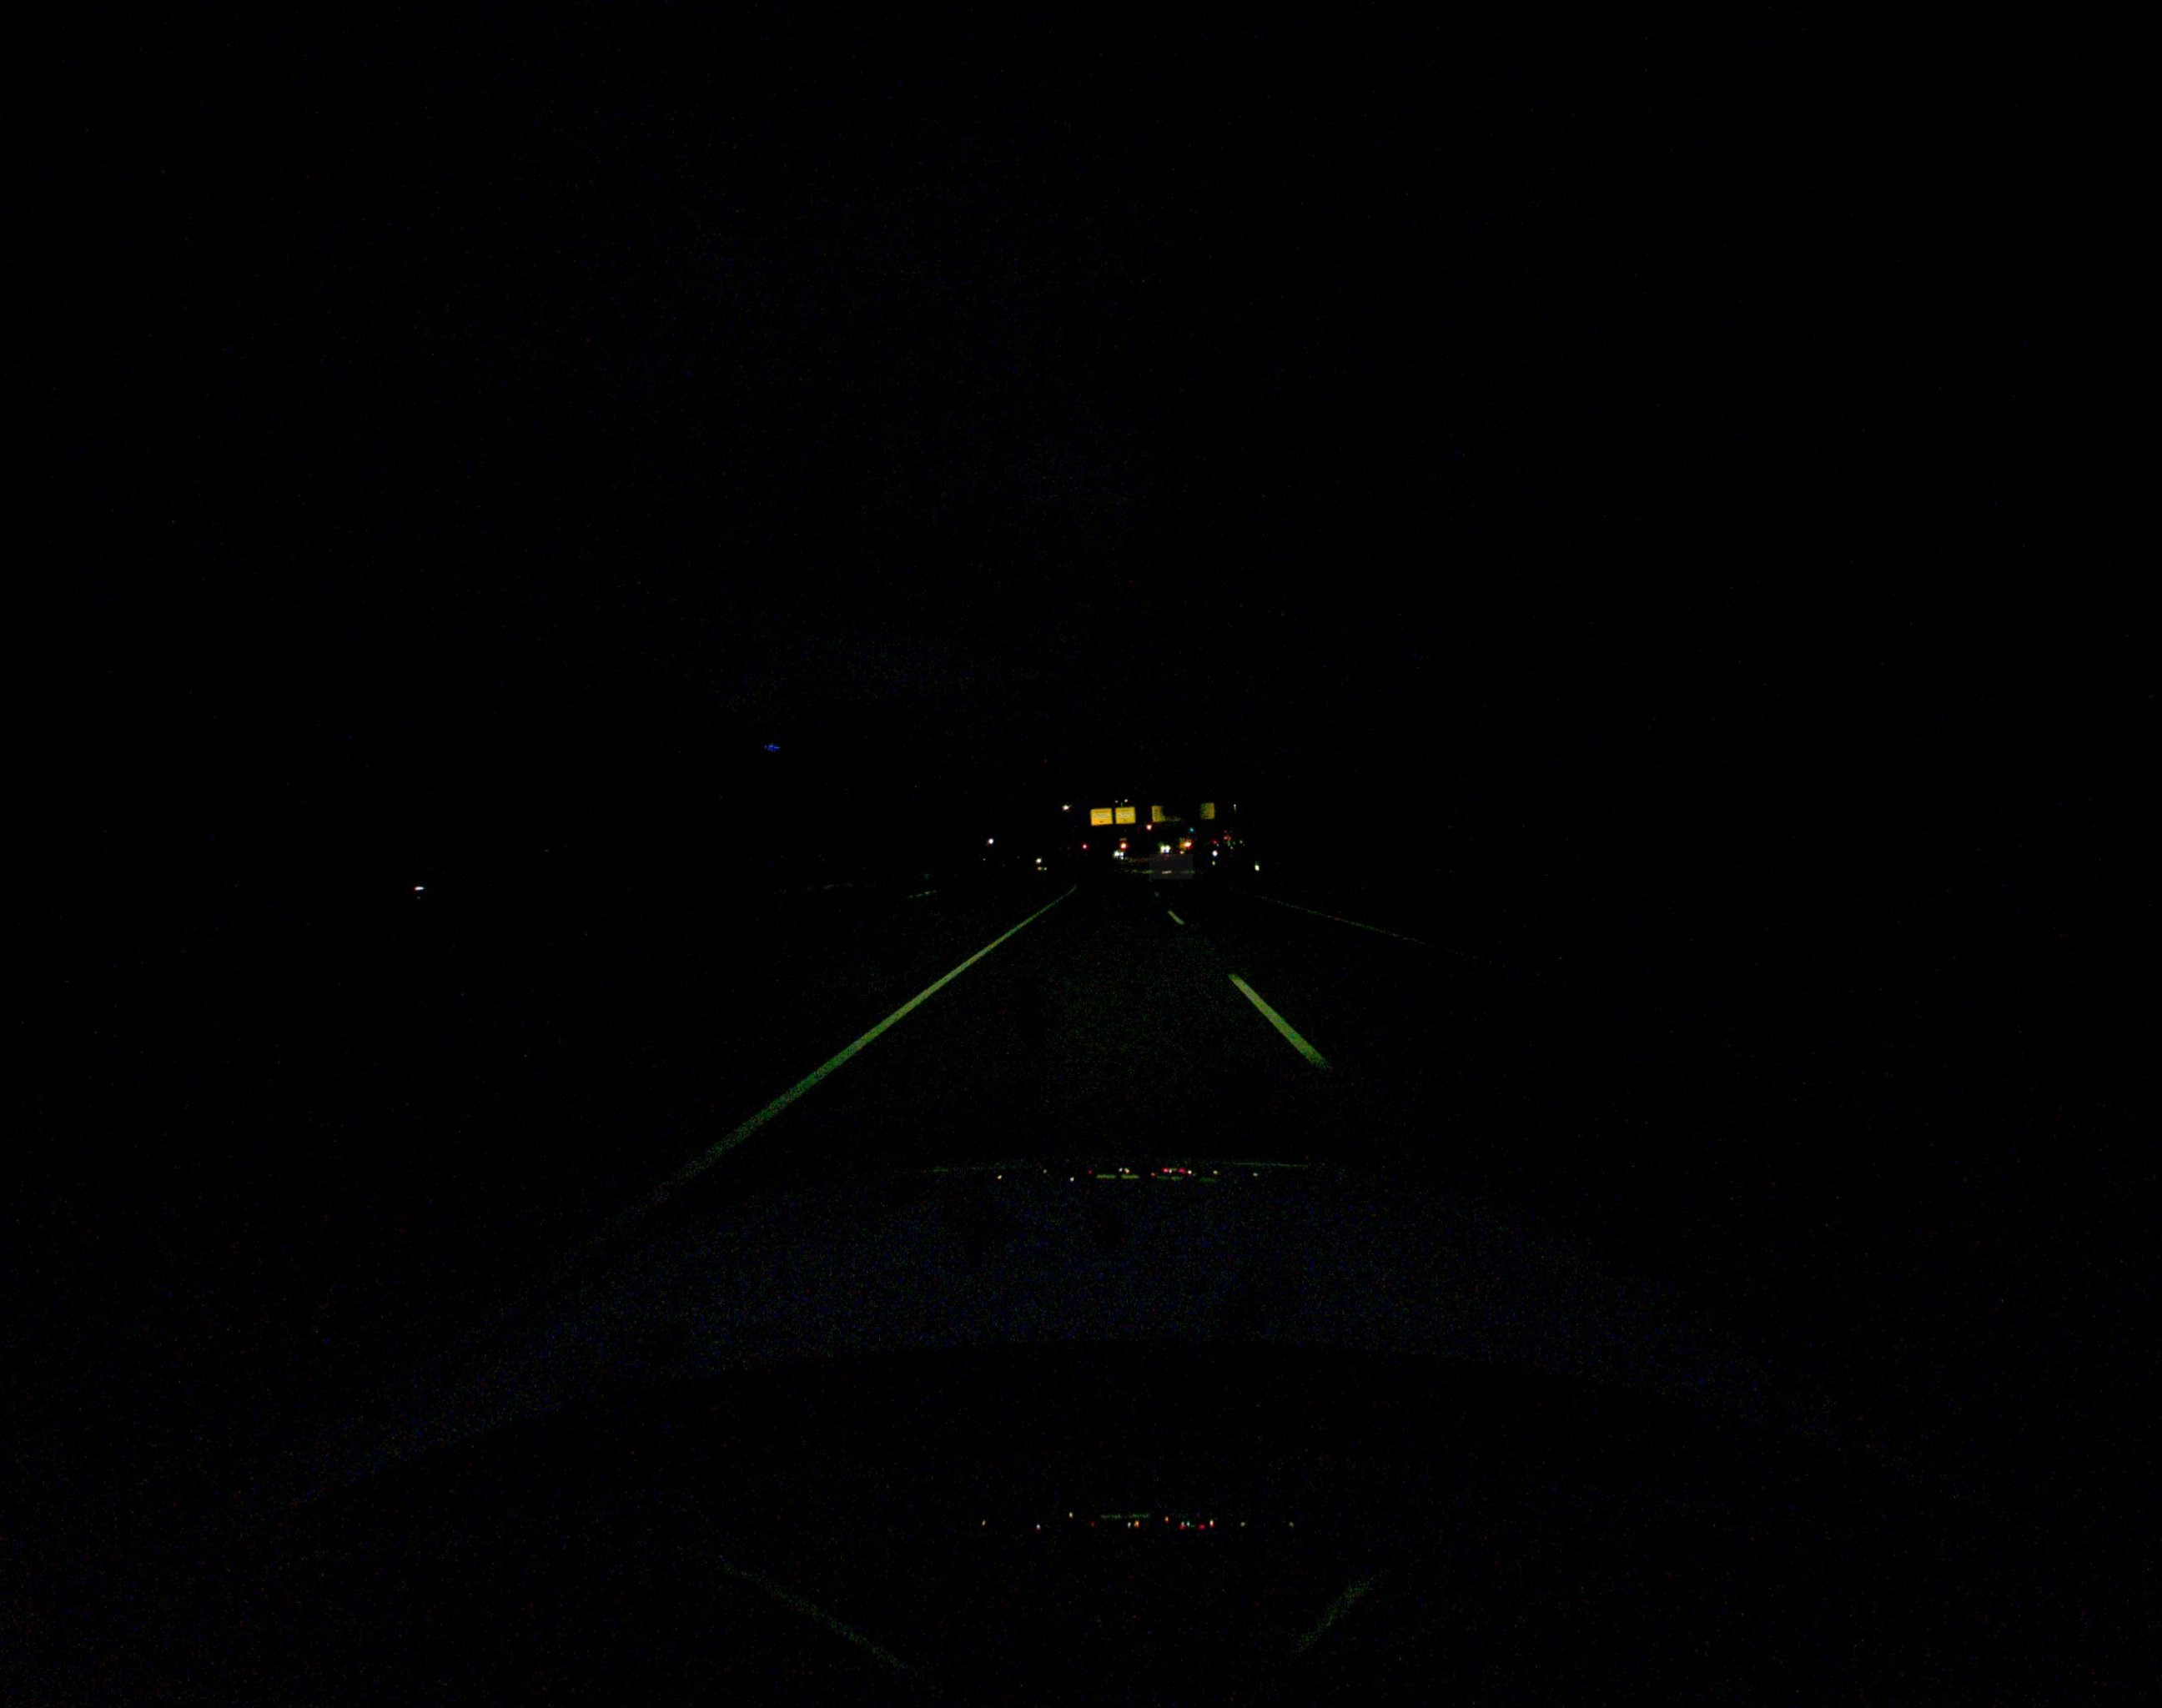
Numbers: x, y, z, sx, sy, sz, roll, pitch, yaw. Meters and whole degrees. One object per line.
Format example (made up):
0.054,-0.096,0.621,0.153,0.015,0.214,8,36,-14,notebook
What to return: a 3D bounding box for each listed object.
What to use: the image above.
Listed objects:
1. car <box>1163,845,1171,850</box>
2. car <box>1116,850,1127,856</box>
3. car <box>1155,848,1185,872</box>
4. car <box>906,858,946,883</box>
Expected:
26.517,-2.106,250.710,1.980,1.481,4.697,-1,1,11,car
9.715,-0.263,195.837,1.980,1.425,4.547,-1,1,11,car
6.561,0.418,60.259,1.998,1.611,3.850,-4,0,4,car
-11.388,1.171,60.206,1.763,1.641,4.664,-4,0,3,car
